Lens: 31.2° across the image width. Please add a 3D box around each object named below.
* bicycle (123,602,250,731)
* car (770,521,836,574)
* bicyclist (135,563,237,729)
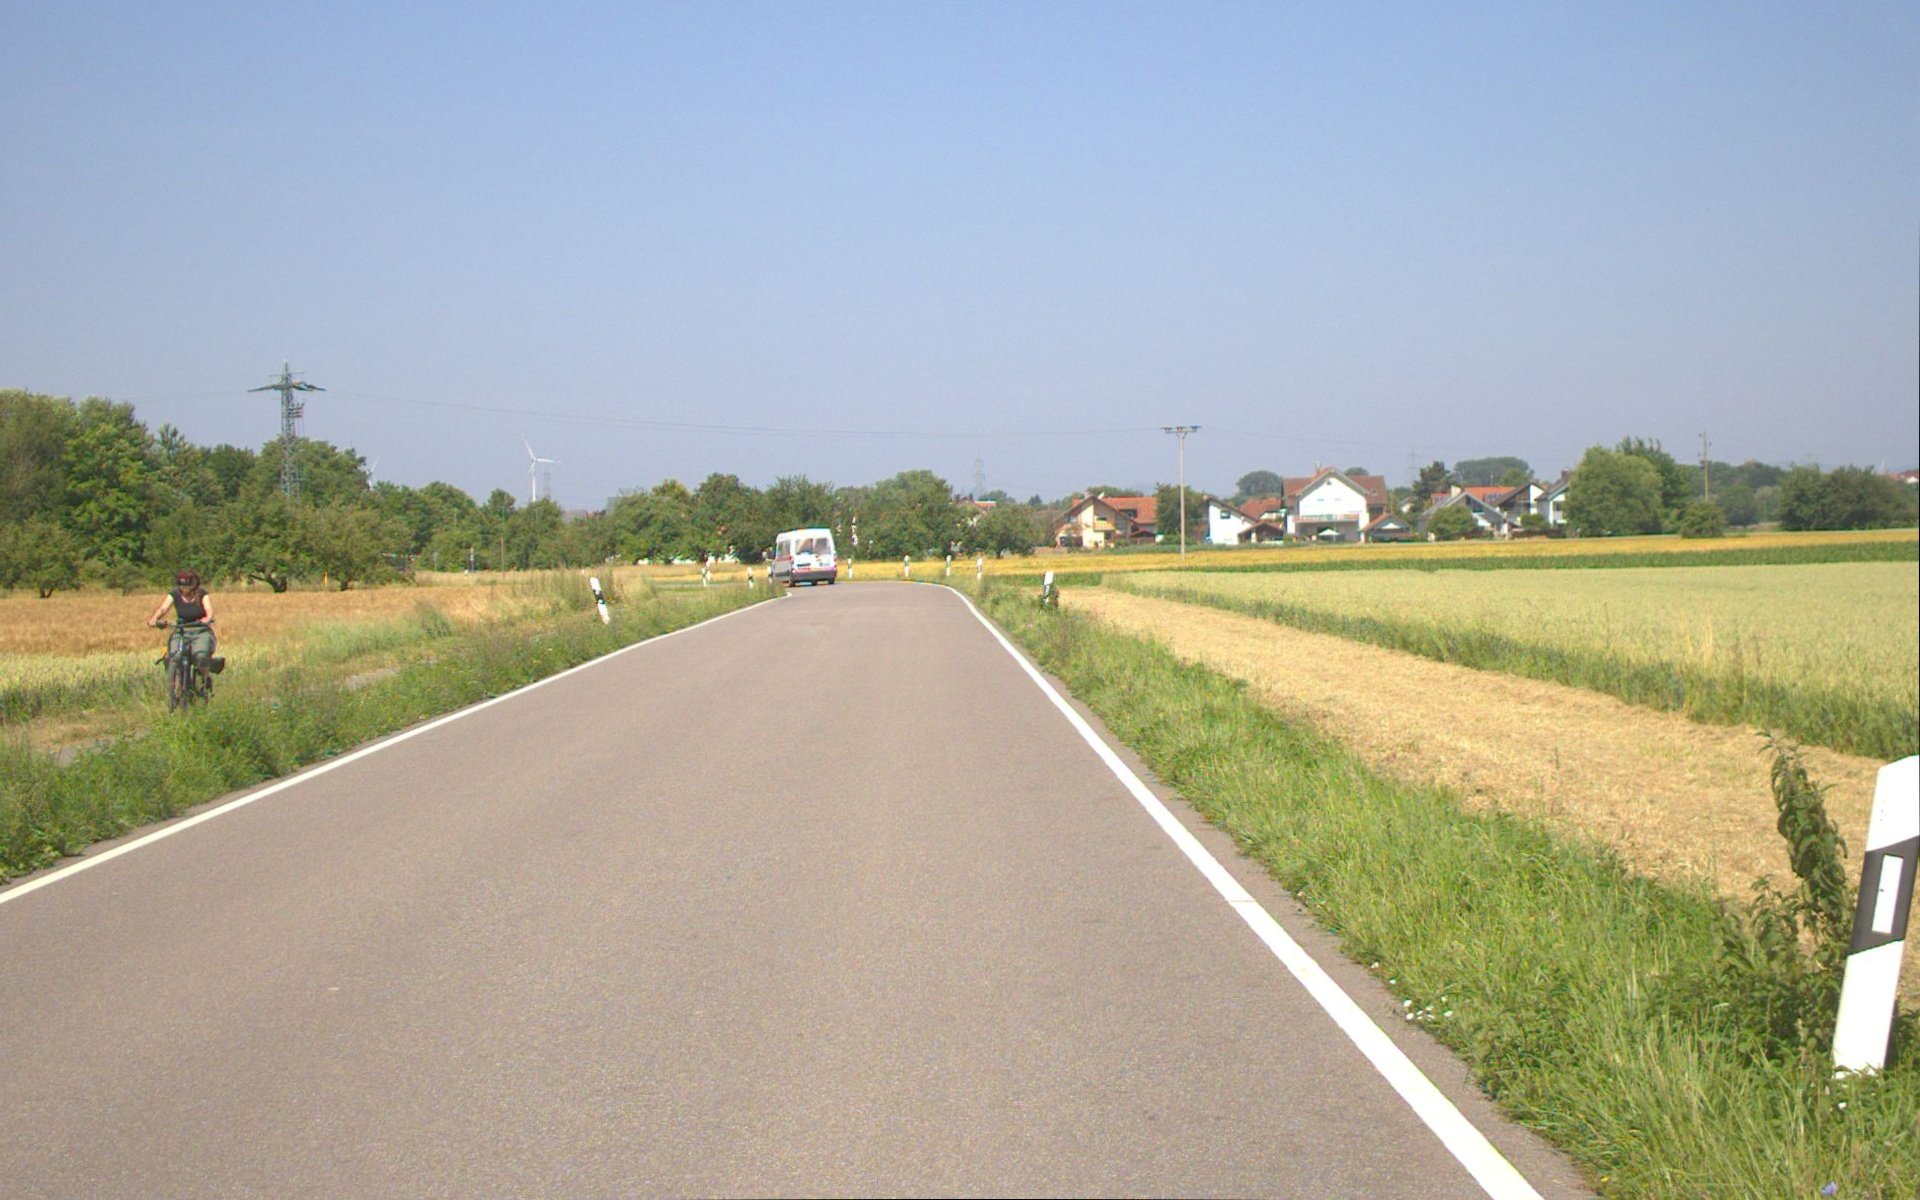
[{"bbox_3d":[-8.110,0.673,36.144,0.759,1.231,2.394,-3,1,-1],"label":"bicycle"},{"bbox_3d":[-6.933,-2.313,151.061,2.106,2.296,5.497,0,1,-11],"label":"car"},{"bbox_3d":[-8.111,0.470,36.063,0.760,1.667,1.089,-3,1,-1],"label":"bicyclist"}]
